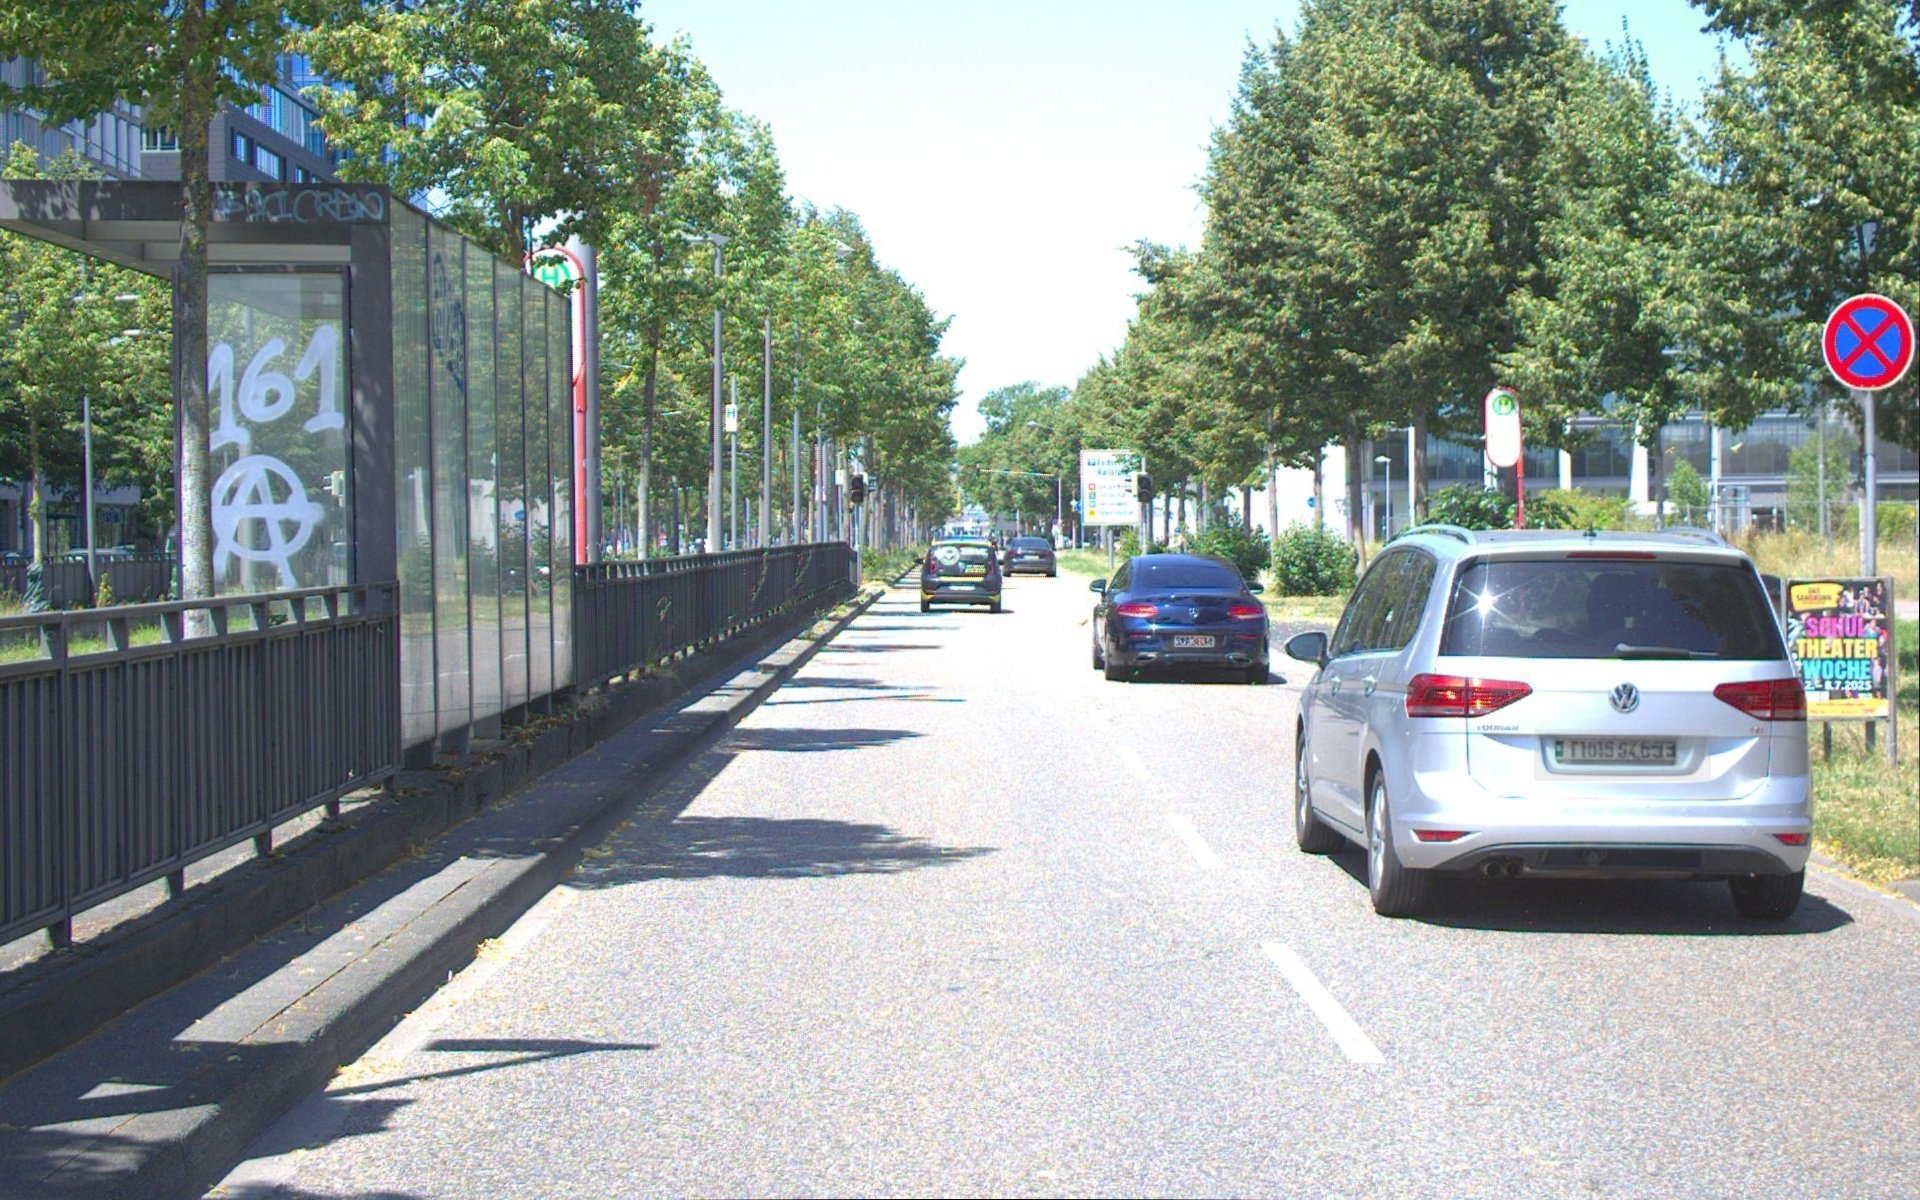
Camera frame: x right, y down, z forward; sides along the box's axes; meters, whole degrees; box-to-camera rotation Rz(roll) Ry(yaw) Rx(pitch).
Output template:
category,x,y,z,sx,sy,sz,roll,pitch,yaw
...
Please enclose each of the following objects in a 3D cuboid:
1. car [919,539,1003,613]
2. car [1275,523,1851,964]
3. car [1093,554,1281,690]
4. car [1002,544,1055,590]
category,x,y,z,sx,sy,sz,roll,pitch,yaw
car,0.002,-0.474,69.535,1.618,1.446,3.986,-1,0,-1
car,2.572,0.511,15.770,1.800,1.643,4.605,2,2,0
car,2.511,0.211,39.022,1.852,1.431,4.955,0,1,1
car,2.457,-1.184,123.869,1.766,1.621,3.716,0,0,-1
